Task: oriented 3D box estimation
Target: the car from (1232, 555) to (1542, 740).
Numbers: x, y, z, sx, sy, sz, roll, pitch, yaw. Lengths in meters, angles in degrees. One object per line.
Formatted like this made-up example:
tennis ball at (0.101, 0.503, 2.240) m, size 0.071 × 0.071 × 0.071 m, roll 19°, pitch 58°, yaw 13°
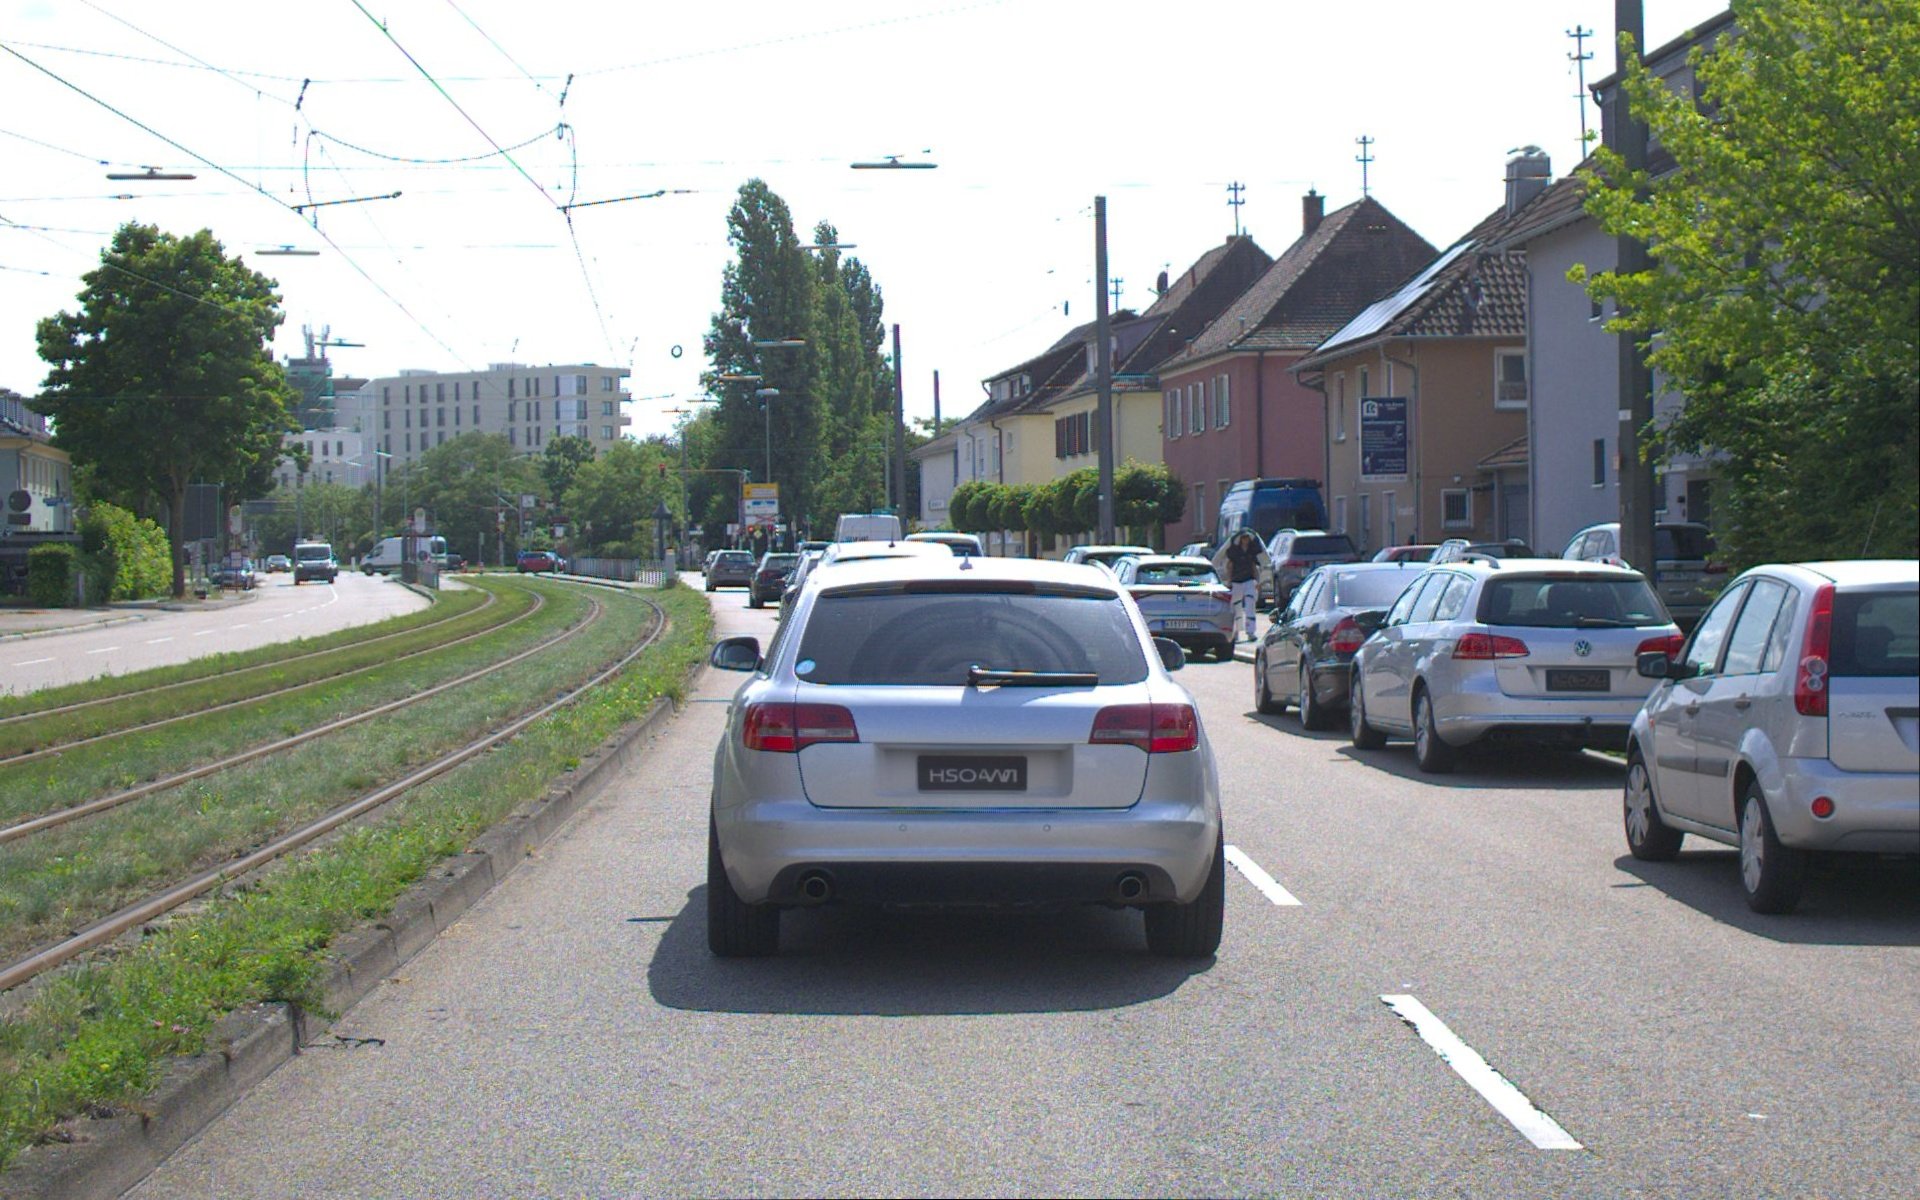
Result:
car at (3.661, 0.356, 30.389) m, size 1.899 × 1.439 × 5.058 m, roll 1°, pitch 1°, yaw -2°

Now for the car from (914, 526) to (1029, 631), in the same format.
car at (0.189, -0.392, 59.253) m, size 1.885 × 1.725 × 4.094 m, roll -1°, pitch 1°, yaw 0°

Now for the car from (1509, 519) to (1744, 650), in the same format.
car at (8.960, -0.219, 46.627) m, size 1.756 × 1.641 × 4.770 m, roll -1°, pitch 0°, yaw -6°

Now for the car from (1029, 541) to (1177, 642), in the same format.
car at (2.281, -0.143, 55.839) m, size 1.807 × 1.554 × 4.254 m, roll 1°, pitch 0°, yaw -6°

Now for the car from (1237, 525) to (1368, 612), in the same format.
car at (7.187, -0.684, 72.568) m, size 1.836 × 1.705 × 4.865 m, roll -2°, pitch 1°, yaw -5°

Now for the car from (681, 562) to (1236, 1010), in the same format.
car at (-0.080, 0.602, 13.796) m, size 1.854 × 1.487 × 4.536 m, roll 0°, pitch 1°, yaw -2°

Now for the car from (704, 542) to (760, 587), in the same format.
car at (-7.993, -1.244, 120.949) m, size 1.885 × 1.525 × 4.095 m, roll 1°, pitch 0°, yaw -3°

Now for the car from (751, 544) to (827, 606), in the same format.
car at (-4.398, -0.644, 88.118) m, size 1.885 × 1.525 × 4.095 m, roll 1°, pitch 0°, yaw -3°

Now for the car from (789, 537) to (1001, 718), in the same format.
car at (-0.683, 0.223, 32.855) m, size 1.787 × 1.571 × 4.095 m, roll 2°, pitch 1°, yaw -4°

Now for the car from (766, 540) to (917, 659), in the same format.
car at (-1.588, -0.037, 45.274) m, size 1.885 × 1.461 × 4.095 m, roll -1°, pitch 1°, yaw -3°

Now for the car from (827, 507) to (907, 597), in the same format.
car at (-2.730, -1.398, 99.945) m, size 2.040 × 2.549 × 5.232 m, roll 0°, pitch 1°, yaw -5°

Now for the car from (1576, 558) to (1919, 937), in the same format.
car at (4.052, 0.581, 15.621) m, size 1.737 × 1.484 × 4.094 m, roll 1°, pitch 0°, yaw 0°

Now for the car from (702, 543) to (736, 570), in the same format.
car at (-14.086, -2.553, 201.382) m, size 1.885 × 1.525 × 4.095 m, roll 1°, pitch 0°, yaw -3°

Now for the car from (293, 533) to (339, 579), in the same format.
car at (-34.882, -2.375, 186.283) m, size 2.196 × 2.364 × 5.334 m, roll -2°, pitch 1°, yaw -8°

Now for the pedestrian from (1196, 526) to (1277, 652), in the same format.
pedestrian at (4.319, -0.169, 53.766) m, size 1.112 × 1.939 × 1.092 m, roll -1°, pitch 0°, yaw -3°

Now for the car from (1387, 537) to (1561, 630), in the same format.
car at (8.405, -0.293, 56.577) m, size 1.798 × 1.419 × 4.858 m, roll -1°, pitch 1°, yaw -4°

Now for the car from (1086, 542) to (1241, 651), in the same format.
car at (2.834, -0.055, 48.813) m, size 1.814 × 1.449 × 4.643 m, roll 1°, pitch 0°, yaw -1°

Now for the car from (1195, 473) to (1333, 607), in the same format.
car at (6.908, -1.343, 78.807) m, size 2.151 × 2.920 × 6.245 m, roll 1°, pitch 0°, yaw -4°

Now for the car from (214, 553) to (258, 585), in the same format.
car at (-35.362, -1.523, 168.031) m, size 1.786 × 1.578 × 3.931 m, roll 0°, pitch 1°, yaw -8°

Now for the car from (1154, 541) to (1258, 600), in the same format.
car at (6.099, -0.722, 85.672) m, size 1.648 × 1.404 × 4.351 m, roll -1°, pitch 0°, yaw -9°

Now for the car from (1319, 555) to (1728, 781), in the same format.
car at (3.946, 0.435, 24.959) m, size 1.890 × 1.450 × 5.007 m, roll 1°, pitch 0°, yaw -3°

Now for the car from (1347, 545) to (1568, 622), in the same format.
car at (9.008, -0.303, 62.414) m, size 3.648 × 1.375 × 1.727 m, roll 0°, pitch 0°, yaw -6°
